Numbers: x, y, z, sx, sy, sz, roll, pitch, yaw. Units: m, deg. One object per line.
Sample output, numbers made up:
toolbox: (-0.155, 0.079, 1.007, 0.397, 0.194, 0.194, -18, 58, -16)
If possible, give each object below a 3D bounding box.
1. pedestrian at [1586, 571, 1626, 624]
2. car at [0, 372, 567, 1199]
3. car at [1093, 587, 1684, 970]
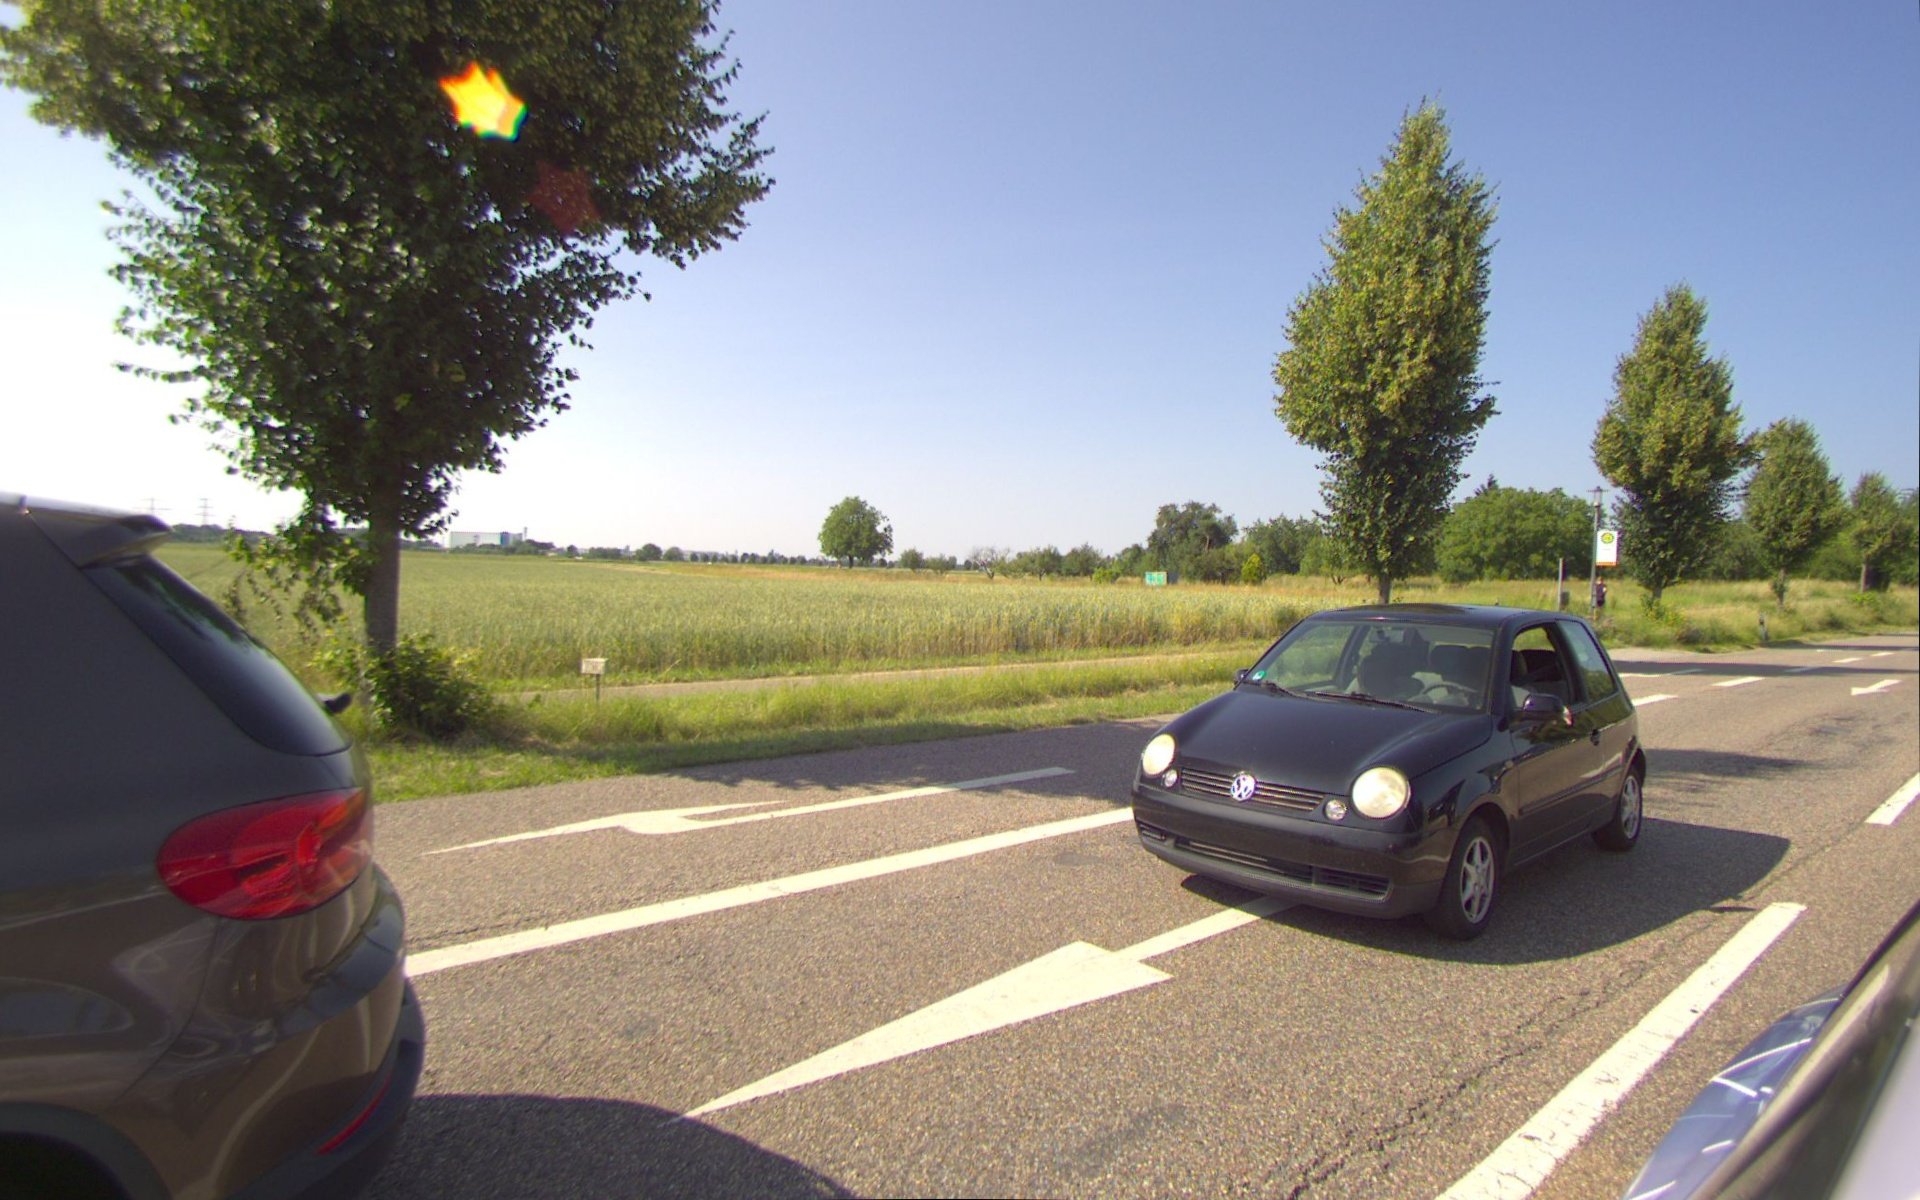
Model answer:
pedestrian: (23.547, -0.103, 36.880, 1.174, 1.862, 0.903, 0, 2, -43)
car: (-2.788, 0.545, 1.093, 4.075, 1.676, 1.758, 0, 0, -42)
car: (2.541, 0.667, 5.628, 3.559, 1.451, 1.628, 0, 0, -41)
